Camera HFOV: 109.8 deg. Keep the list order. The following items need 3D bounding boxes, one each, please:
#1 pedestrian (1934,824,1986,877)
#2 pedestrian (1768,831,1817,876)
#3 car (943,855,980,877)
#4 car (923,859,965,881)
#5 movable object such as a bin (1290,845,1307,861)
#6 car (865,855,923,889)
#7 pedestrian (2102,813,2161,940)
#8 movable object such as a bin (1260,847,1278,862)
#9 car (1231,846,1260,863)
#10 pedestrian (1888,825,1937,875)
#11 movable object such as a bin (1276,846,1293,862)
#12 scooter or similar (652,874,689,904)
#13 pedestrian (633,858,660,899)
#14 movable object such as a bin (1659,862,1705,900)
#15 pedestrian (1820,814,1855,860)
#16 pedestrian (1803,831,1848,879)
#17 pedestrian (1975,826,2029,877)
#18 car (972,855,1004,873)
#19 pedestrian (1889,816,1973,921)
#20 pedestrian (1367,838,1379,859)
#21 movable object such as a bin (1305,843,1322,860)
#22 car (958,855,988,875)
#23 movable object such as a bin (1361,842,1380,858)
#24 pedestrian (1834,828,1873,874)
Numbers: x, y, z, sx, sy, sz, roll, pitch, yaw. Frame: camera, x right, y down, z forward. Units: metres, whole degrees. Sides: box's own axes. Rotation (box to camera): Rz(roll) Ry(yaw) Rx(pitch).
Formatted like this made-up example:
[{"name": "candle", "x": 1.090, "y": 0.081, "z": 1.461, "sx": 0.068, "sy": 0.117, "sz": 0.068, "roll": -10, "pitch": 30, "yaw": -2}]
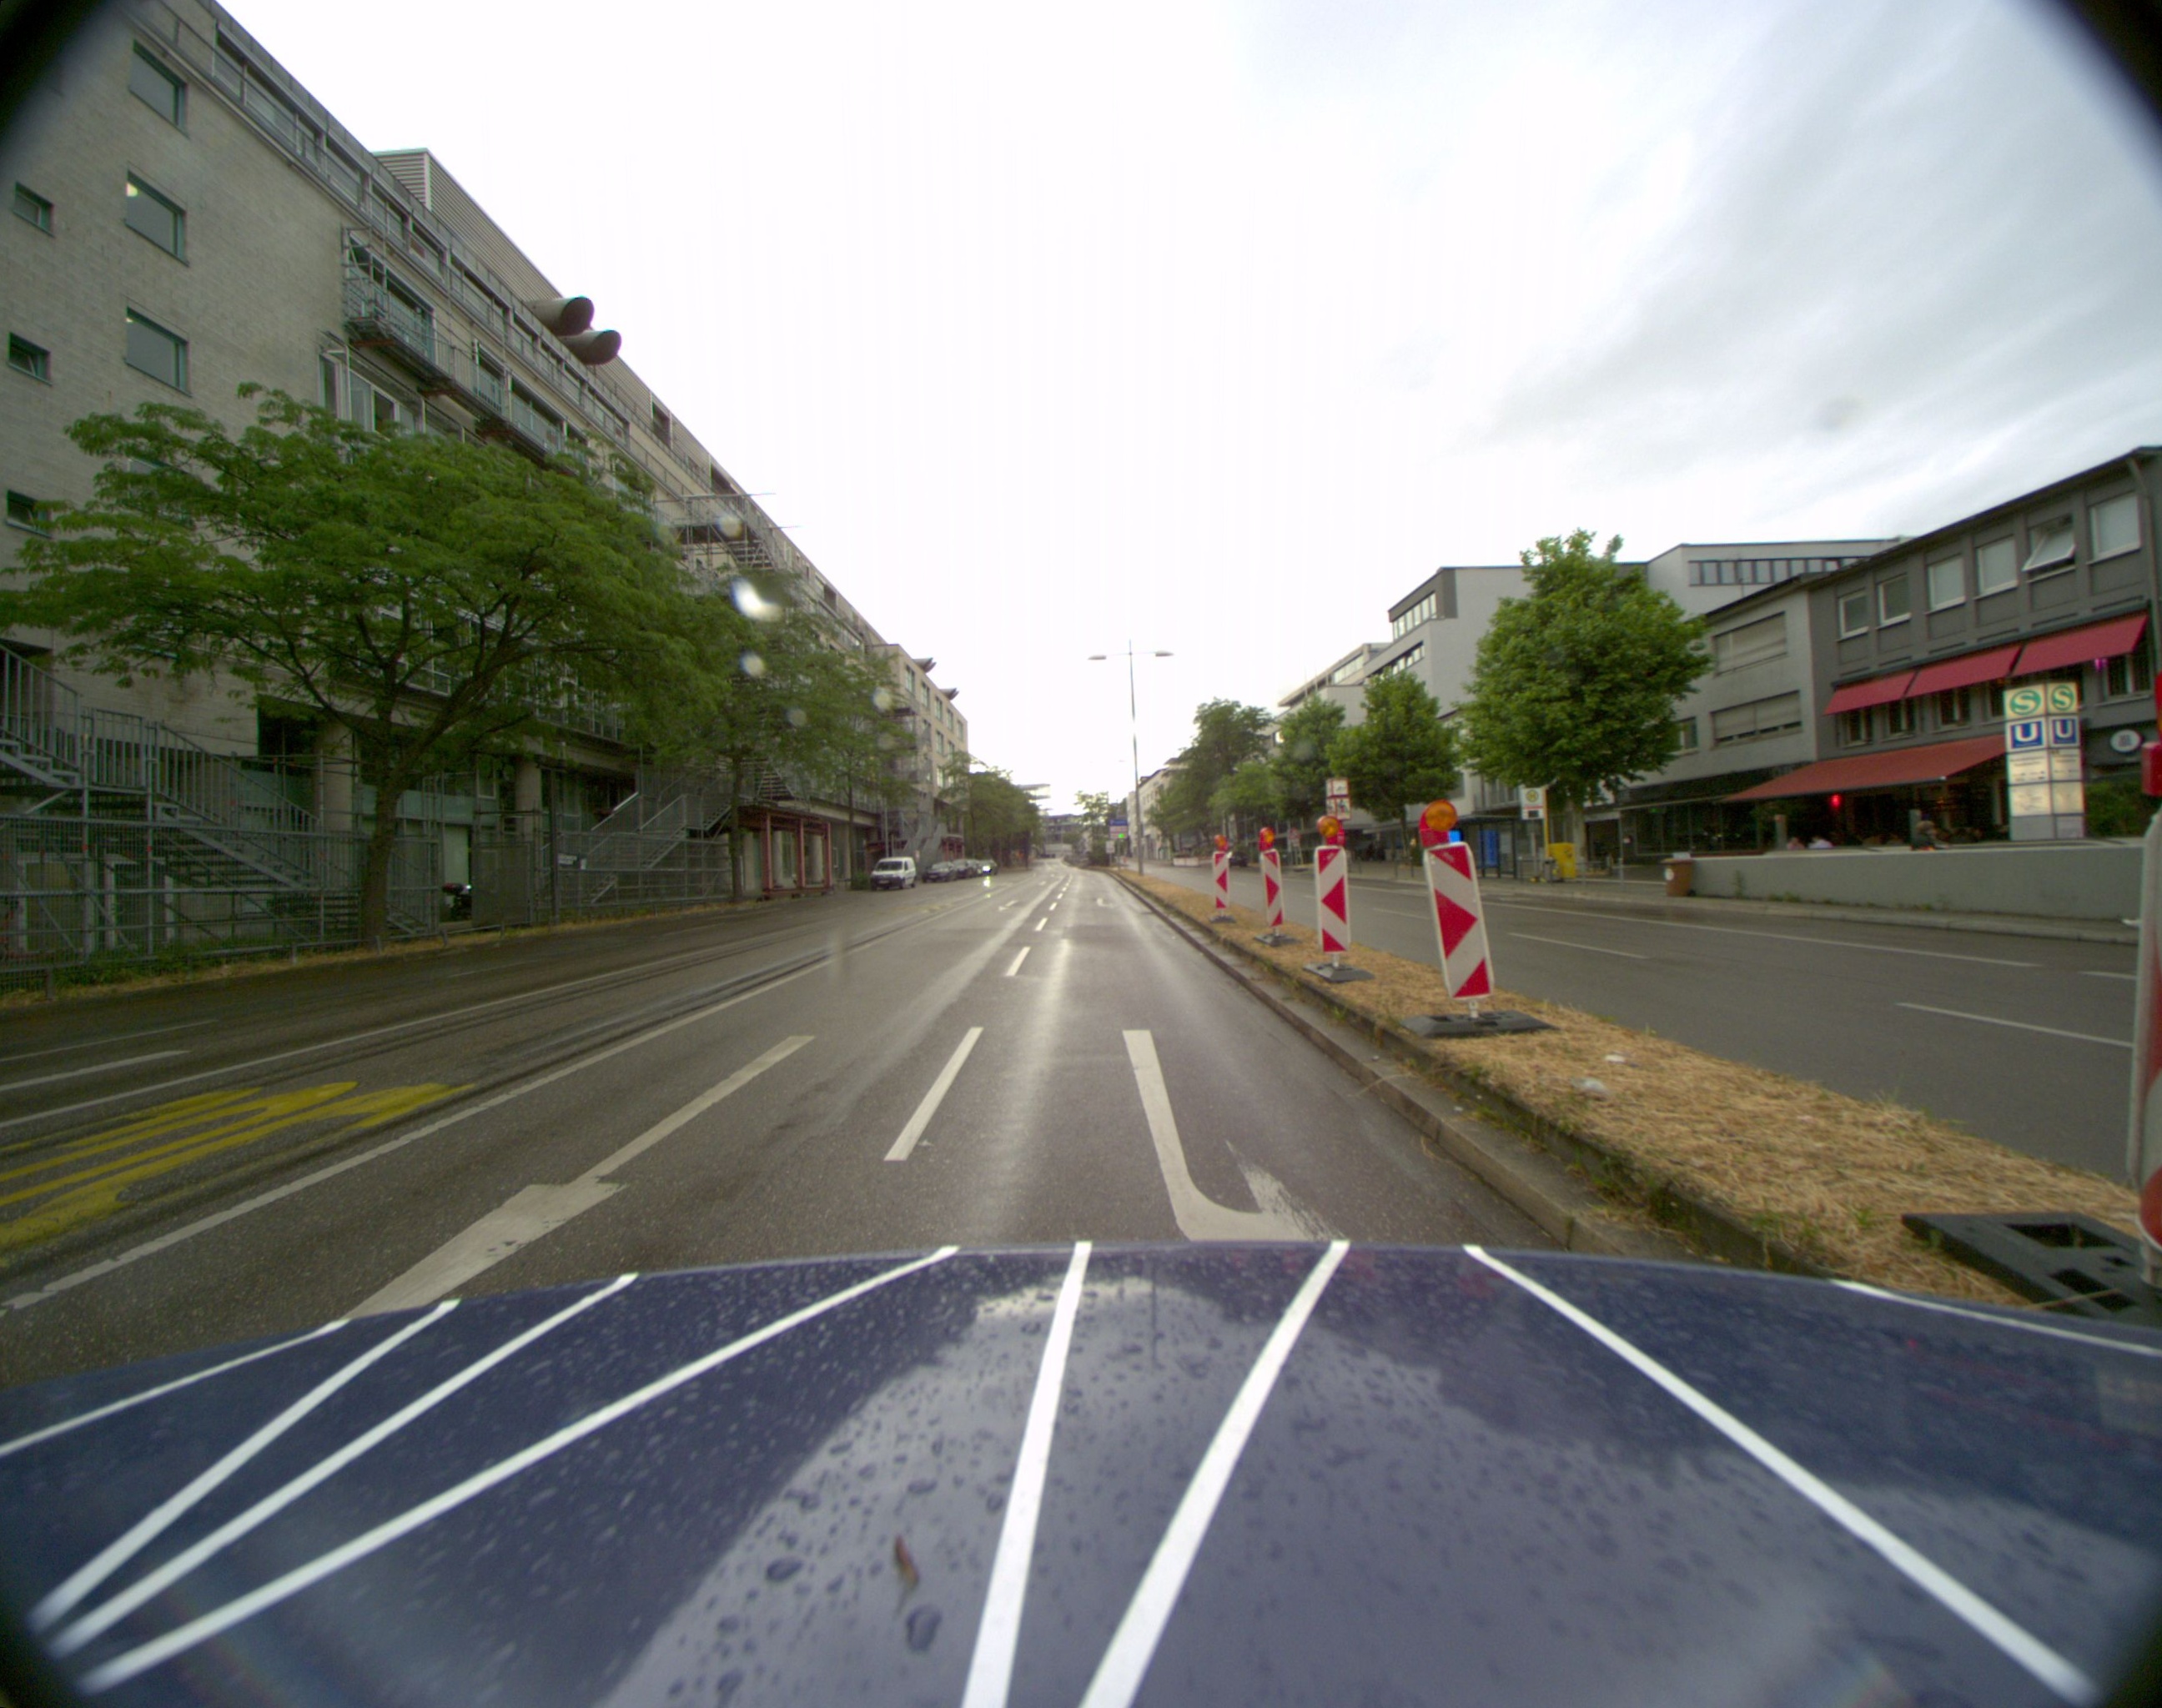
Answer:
[{"name": "pedestrian", "x": 24.772, "y": -0.105, "z": 21.426, "sx": 0.635, "sy": 1.442, "sz": 0.691, "roll": -2, "pitch": 1, "yaw": -6}, {"name": "pedestrian", "x": 23.106, "y": -0.016, "z": 24.705, "sx": 0.691, "sy": 1.442, "sz": 0.914, "roll": -2, "pitch": 0, "yaw": -3}, {"name": "car", "x": -9.589, "y": 0.939, "z": 61.351, "sx": 1.998, "sy": 1.636, "sz": 4.863, "roll": -2, "pitch": 0, "yaw": 3}, {"name": "car", "x": -9.779, "y": 1.098, "z": 54.558, "sx": 1.873, "sy": 1.429, "sz": 4.922, "roll": -2, "pitch": 0, "yaw": 3}, {"name": "movable object such as a bin", "x": 20.310, "y": -0.111, "z": 70.936, "sx": 1.281, "sy": 1.418, "sz": 1.088, "roll": -2, "pitch": 1, "yaw": 1}, {"name": "car", "x": -10.450, "y": 0.954, "z": 42.813, "sx": 1.998, "sy": 1.739, "sz": 4.526, "roll": -2, "pitch": 0, "yaw": 1}, {"name": "pedestrian", "x": 14.283, "y": 0.281, "z": 9.986, "sx": 0.691, "sy": 1.643, "sz": 0.758, "roll": -2, "pitch": 1, "yaw": -4}, {"name": "movable object such as a bin", "x": 17.518, "y": 0.046, "z": 70.909, "sx": 1.362, "sy": 1.418, "sz": 1.088, "roll": -2, "pitch": 1, "yaw": 1}, {"name": "car", "x": 16.125, "y": 0.049, "z": 74.716, "sx": 1.783, "sy": 1.626, "sz": 4.023, "roll": -2, "pitch": 0, "yaw": -2}, {"name": "pedestrian", "x": 24.947, "y": -0.116, "z": 22.803, "sx": 0.728, "sy": 1.442, "sz": 0.691, "roll": -2, "pitch": 1, "yaw": -6}, {"name": "movable object such as a bin", "x": 18.959, "y": 0.010, "z": 70.910, "sx": 1.281, "sy": 1.418, "sz": 1.088, "roll": -2, "pitch": 1, "yaw": 1}, {"name": "scooter or similar", "x": -17.181, "y": 1.451, "z": 31.844, "sx": 0.633, "sy": 1.155, "sz": 1.547, "roll": -2, "pitch": 0, "yaw": 1}, {"name": "pedestrian", "x": -18.351, "y": 1.027, "z": 32.097, "sx": 0.677, "sy": 1.732, "sz": 0.653, "roll": -1, "pitch": 1, "yaw": 3}, {"name": "movable object such as a bin", "x": 14.516, "y": 0.649, "z": 18.360, "sx": 0.533, "sy": 0.892, "sz": 0.682, "roll": 0, "pitch": 0, "yaw": -9}, {"name": "pedestrian", "x": 25.945, "y": -0.574, "z": 26.050, "sx": 0.598, "sy": 1.561, "sz": 0.604, "roll": -2, "pitch": 1, "yaw": -9}, {"name": "pedestrian", "x": 23.180, "y": 0.034, "z": 23.671, "sx": 0.691, "sy": 1.442, "sz": 0.707, "roll": -2, "pitch": 1, "yaw": -4}, {"name": "pedestrian", "x": 24.918, "y": -0.054, "z": 20.566, "sx": 0.635, "sy": 1.336, "sz": 0.691, "roll": -2, "pitch": 1, "yaw": -6}, {"name": "car", "x": -8.850, "y": 0.934, "z": 72.645, "sx": 1.998, "sy": 1.591, "sz": 5.290, "roll": -2, "pitch": 0, "yaw": 4}, {"name": "pedestrian", "x": 15.845, "y": 0.259, "z": 14.177, "sx": 0.691, "sy": 1.874, "sz": 0.758, "roll": -2, "pitch": 1, "yaw": -4}, {"name": "pedestrian", "x": 24.131, "y": -0.440, "z": 62.839, "sx": 0.698, "sy": 1.753, "sz": 0.653, "roll": -1, "pitch": 1, "yaw": 3}, {"name": "movable object such as a bin", "x": 21.704, "y": -0.227, "z": 70.927, "sx": 1.281, "sy": 1.480, "sz": 1.088, "roll": -2, "pitch": 1, "yaw": 1}, {"name": "car", "x": -9.444, "y": 0.950, "z": 66.725, "sx": 1.866, "sy": 1.591, "sz": 4.593, "roll": -2, "pitch": 0, "yaw": 1}, {"name": "movable object such as a bin", "x": 26.838, "y": -0.358, "z": 70.406, "sx": 1.088, "sy": 1.427, "sz": 1.281, "roll": -2, "pitch": 0, "yaw": -9}, {"name": "pedestrian", "x": 24.905, "y": -0.085, "z": 24.492, "sx": 0.691, "sy": 1.442, "sz": 0.547, "roll": -2, "pitch": 1, "yaw": -4}]
